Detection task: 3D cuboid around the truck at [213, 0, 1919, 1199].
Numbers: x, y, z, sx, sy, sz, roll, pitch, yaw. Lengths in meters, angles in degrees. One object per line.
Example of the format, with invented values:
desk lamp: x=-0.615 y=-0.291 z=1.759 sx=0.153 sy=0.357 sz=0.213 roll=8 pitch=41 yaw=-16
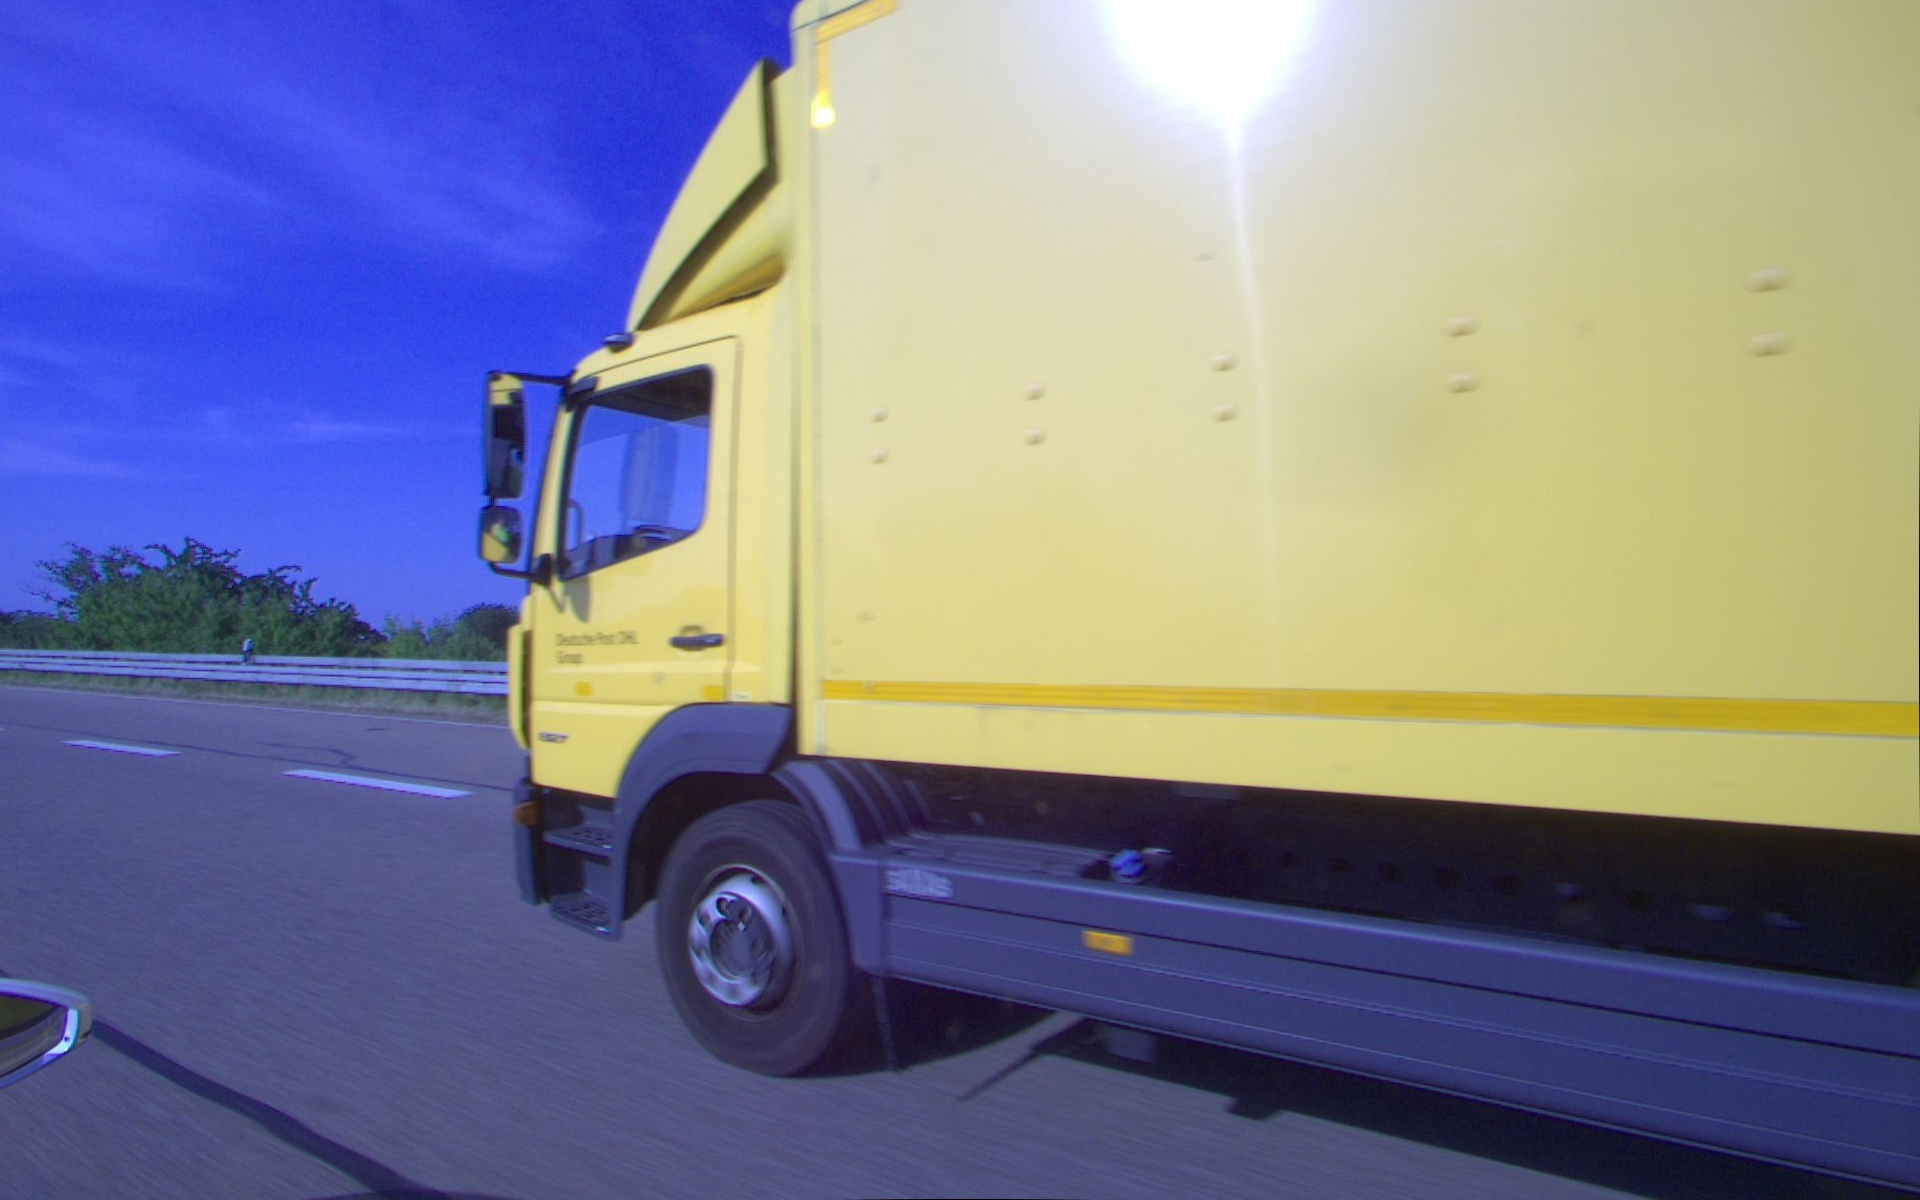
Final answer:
truck: x=1.582 y=-0.183 z=3.164 sx=10.338 sy=3.359 sz=2.774 roll=-1 pitch=-1 yaw=32
